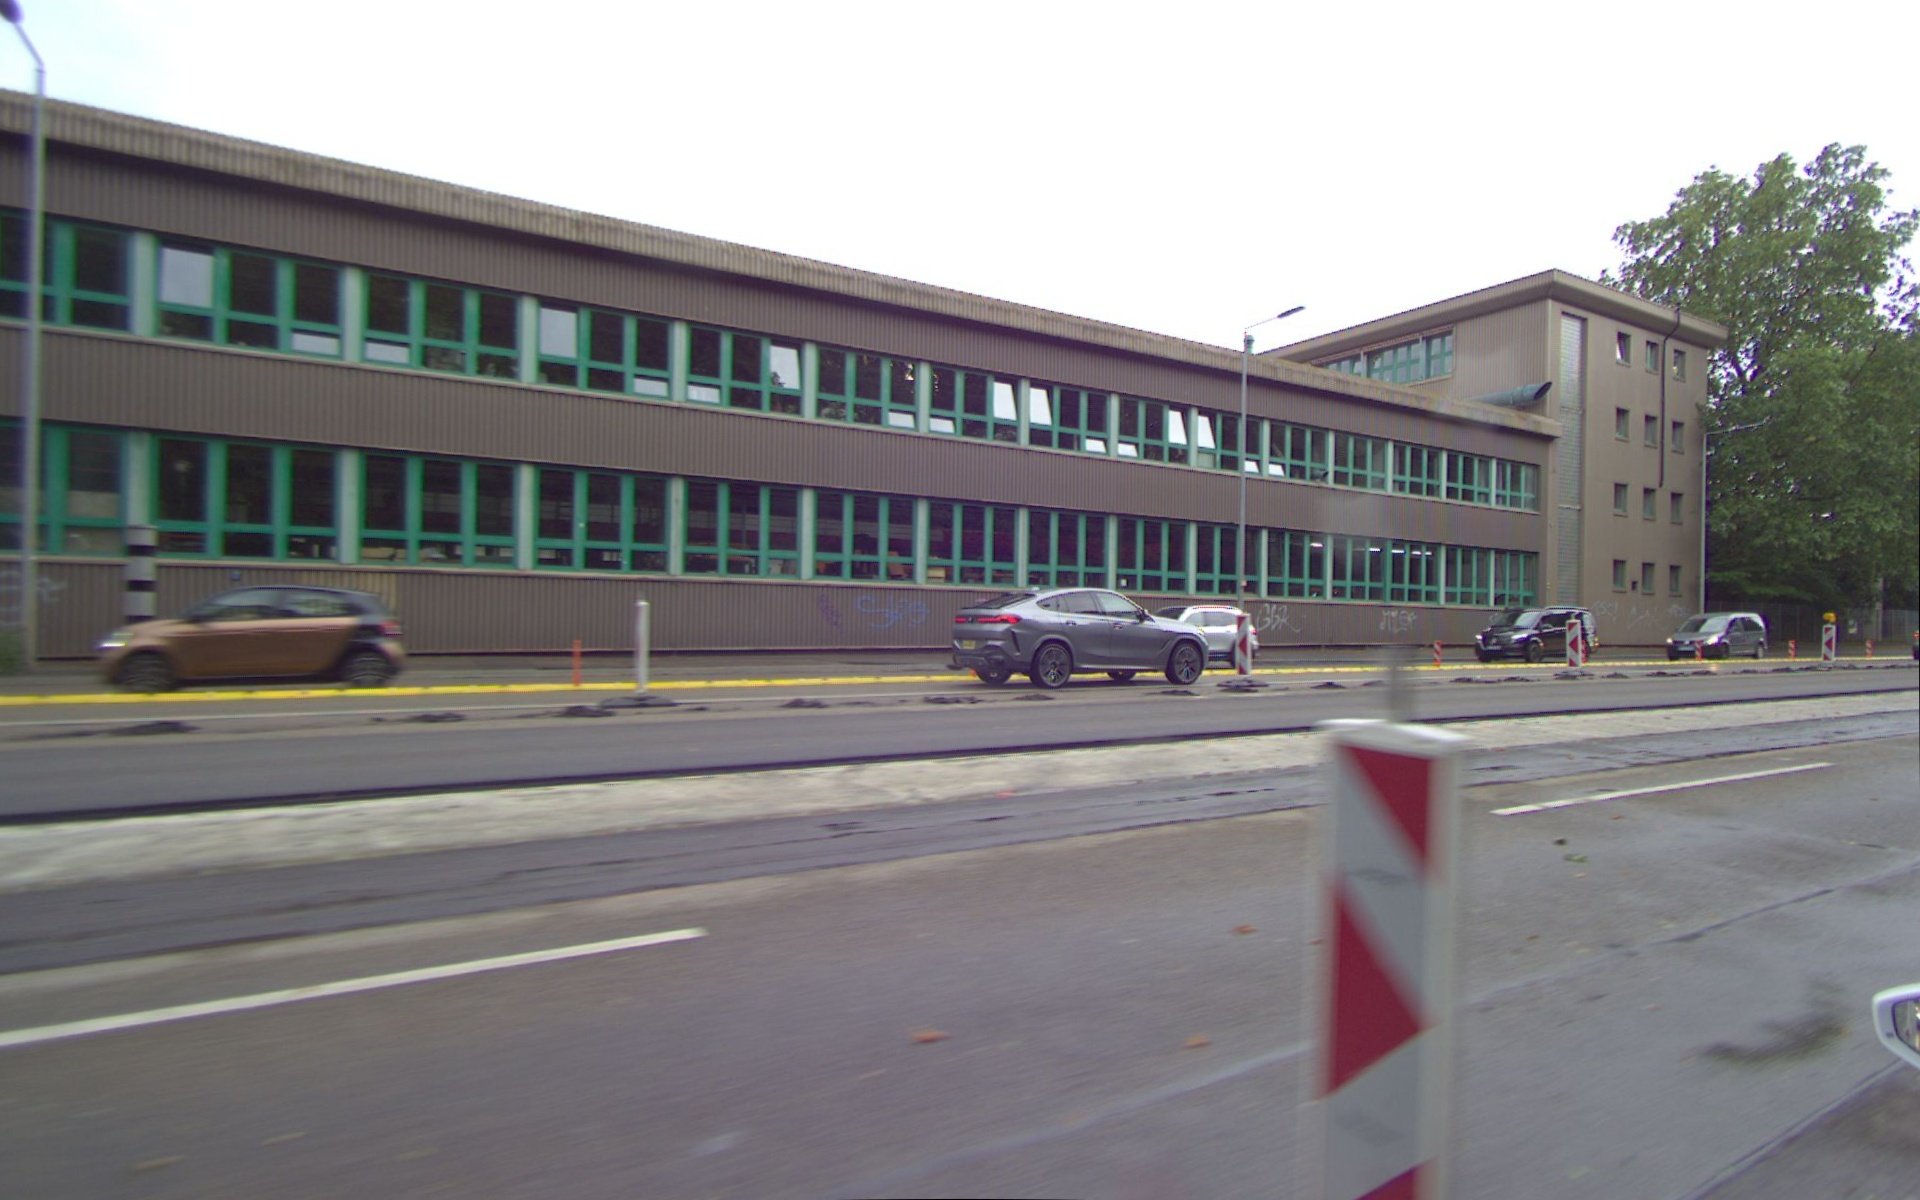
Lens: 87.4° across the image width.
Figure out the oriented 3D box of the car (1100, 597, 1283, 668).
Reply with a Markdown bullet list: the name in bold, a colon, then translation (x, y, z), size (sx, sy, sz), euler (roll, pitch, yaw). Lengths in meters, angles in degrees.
- **car**: translation (6.301, 0.873, 27.193), size (4.881, 1.729, 1.927), euler (2, 0, -32)

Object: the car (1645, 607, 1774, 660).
- **car**: translation (27.991, 1.255, 37.495), size (4.894, 1.804, 1.985), euler (2, 0, -29)

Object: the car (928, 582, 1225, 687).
- **car**: translation (2.127, 0.581, 17.763), size (4.999, 1.635, 2.065), euler (2, 0, -32)

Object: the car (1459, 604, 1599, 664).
- **car**: translation (20.131, 1.212, 35.479), size (5.304, 1.944, 1.983), euler (2, 0, -32)

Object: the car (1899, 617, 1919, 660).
- **car**: translation (39.878, 1.588, 40.541), size (3.954, 1.670, 1.845), euler (2, 0, -31)

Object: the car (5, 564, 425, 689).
- **car**: translation (-10.058, 0.369, 14.097), size (4.461, 1.522, 1.885), euler (2, 0, -29)
